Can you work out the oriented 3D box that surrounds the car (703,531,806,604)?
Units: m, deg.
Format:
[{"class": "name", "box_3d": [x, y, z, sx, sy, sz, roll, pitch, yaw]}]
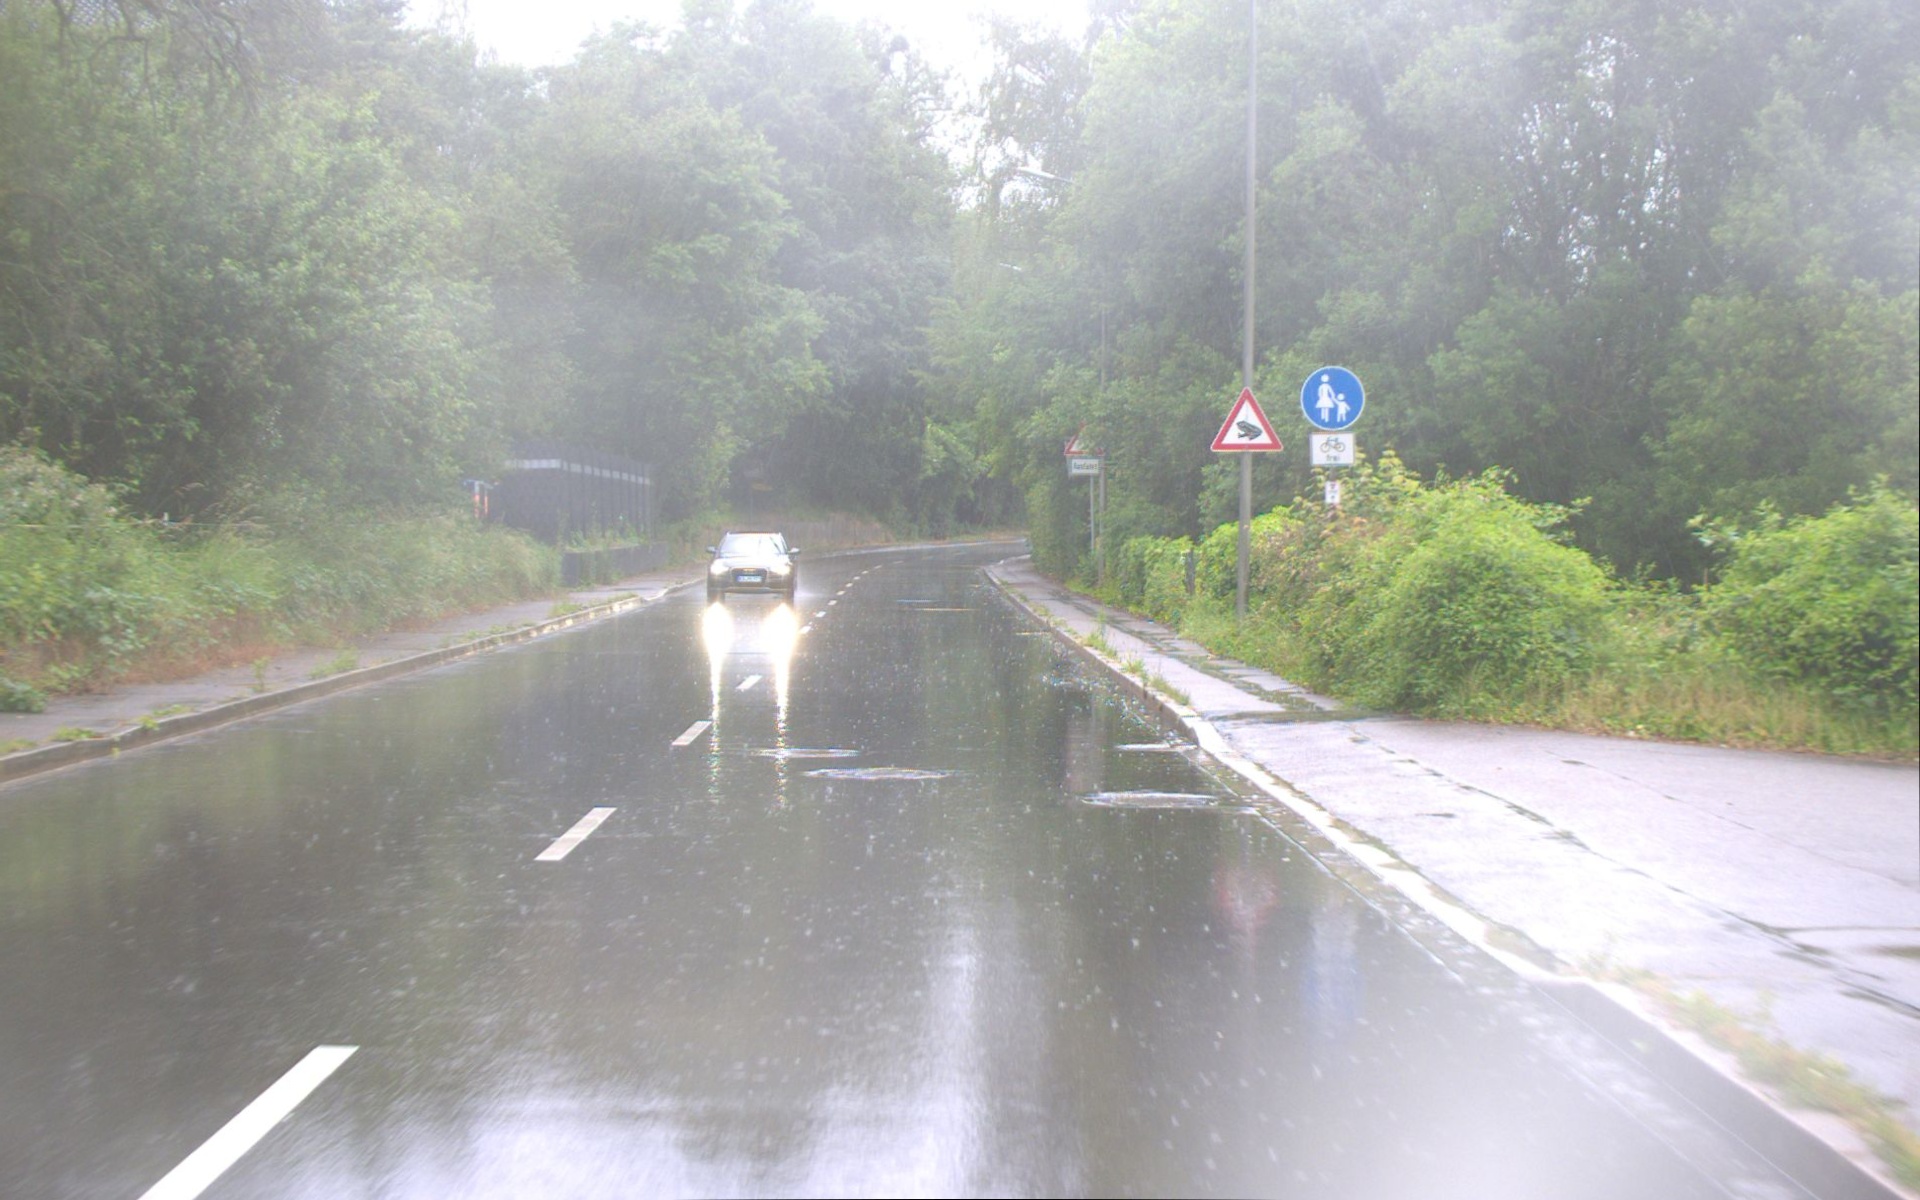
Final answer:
[{"class": "car", "box_3d": [-4.464, -0.730, 75.195, 1.993, 1.449, 4.428, 1, 2, -1]}]
